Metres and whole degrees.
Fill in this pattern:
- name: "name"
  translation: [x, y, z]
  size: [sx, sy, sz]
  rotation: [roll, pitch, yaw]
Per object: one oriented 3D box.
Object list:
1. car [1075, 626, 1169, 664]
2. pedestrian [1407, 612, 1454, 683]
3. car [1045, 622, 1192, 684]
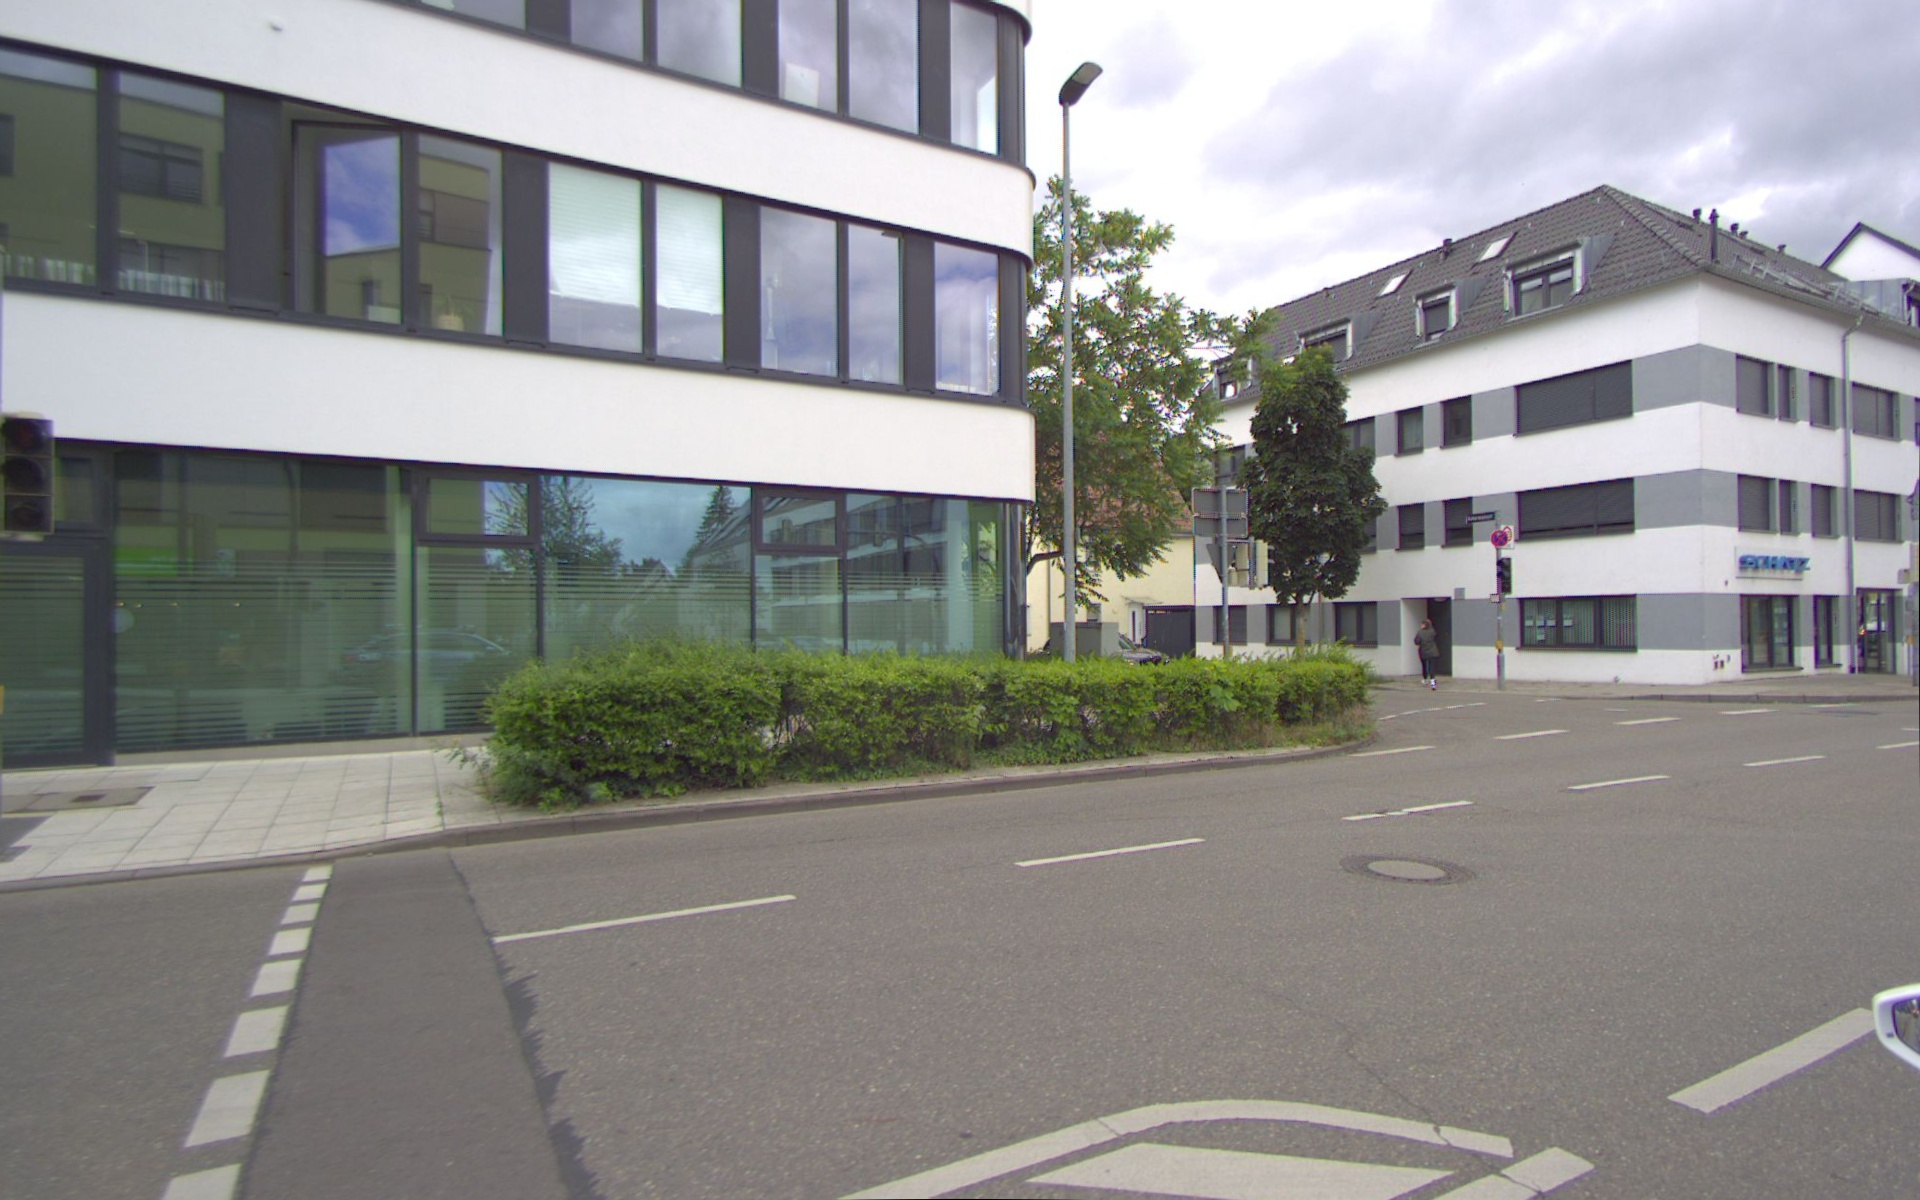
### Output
- name: "car"
  translation: [7.176, 1.973, 44.480]
  size: [3.953, 1.547, 1.672]
  rotation: [0, -2, -30]
- name: "pedestrian"
  translation: [11.714, 1.179, 25.042]
  size: [0.867, 1.692, 0.814]
  rotation: [-2, 1, 14]
- name: "car"
  translation: [4.400, 1.497, 28.430]
  size: [1.892, 1.553, 3.964]
  rotation: [-2, -2, -34]
